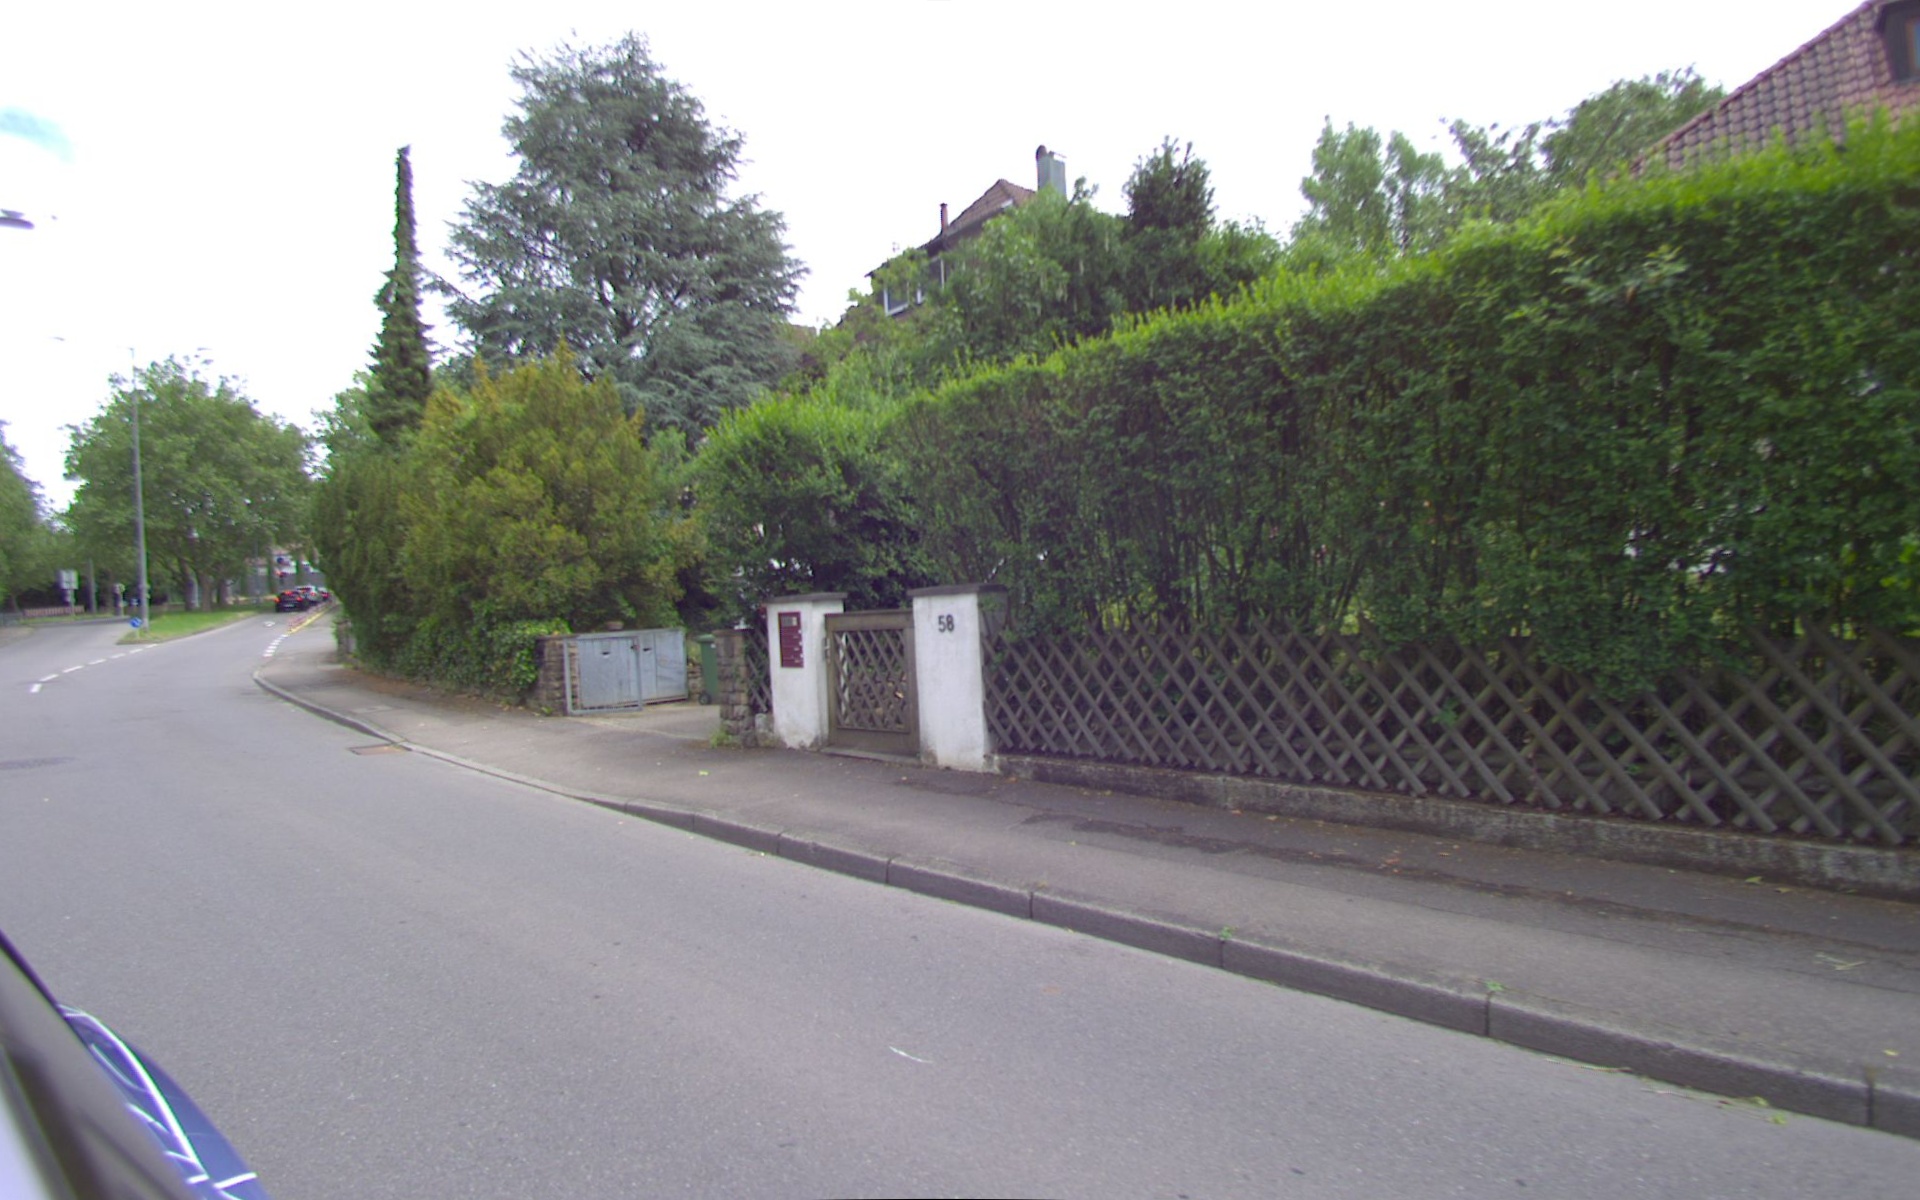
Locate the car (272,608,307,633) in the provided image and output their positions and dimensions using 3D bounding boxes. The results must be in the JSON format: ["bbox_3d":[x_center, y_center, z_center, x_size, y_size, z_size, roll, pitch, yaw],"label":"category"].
[{"bbox_3d":[-52.228,1.567,78.916,1.732,1.603,4.629,-4,4,-27],"label":"car"}]

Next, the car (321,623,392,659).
[{"bbox_3d":[-30.683,2.065,51.623,1.704,1.484,4.325,-2,2,-11],"label":"car"}]

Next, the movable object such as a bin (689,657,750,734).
[{"bbox_3d":[-3.642,1.440,15.363,0.613,1.096,0.655,-3,-1,17],"label":"movable object such as a bin"}]

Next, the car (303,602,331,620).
[{"bbox_3d":[-59.998,1.011,94.487,1.732,1.528,4.401,-4,2,-27],"label":"car"}]

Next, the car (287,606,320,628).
[{"bbox_3d":[-56.616,1.469,87.378,1.826,1.670,4.922,-4,0,-27],"label":"car"}]
